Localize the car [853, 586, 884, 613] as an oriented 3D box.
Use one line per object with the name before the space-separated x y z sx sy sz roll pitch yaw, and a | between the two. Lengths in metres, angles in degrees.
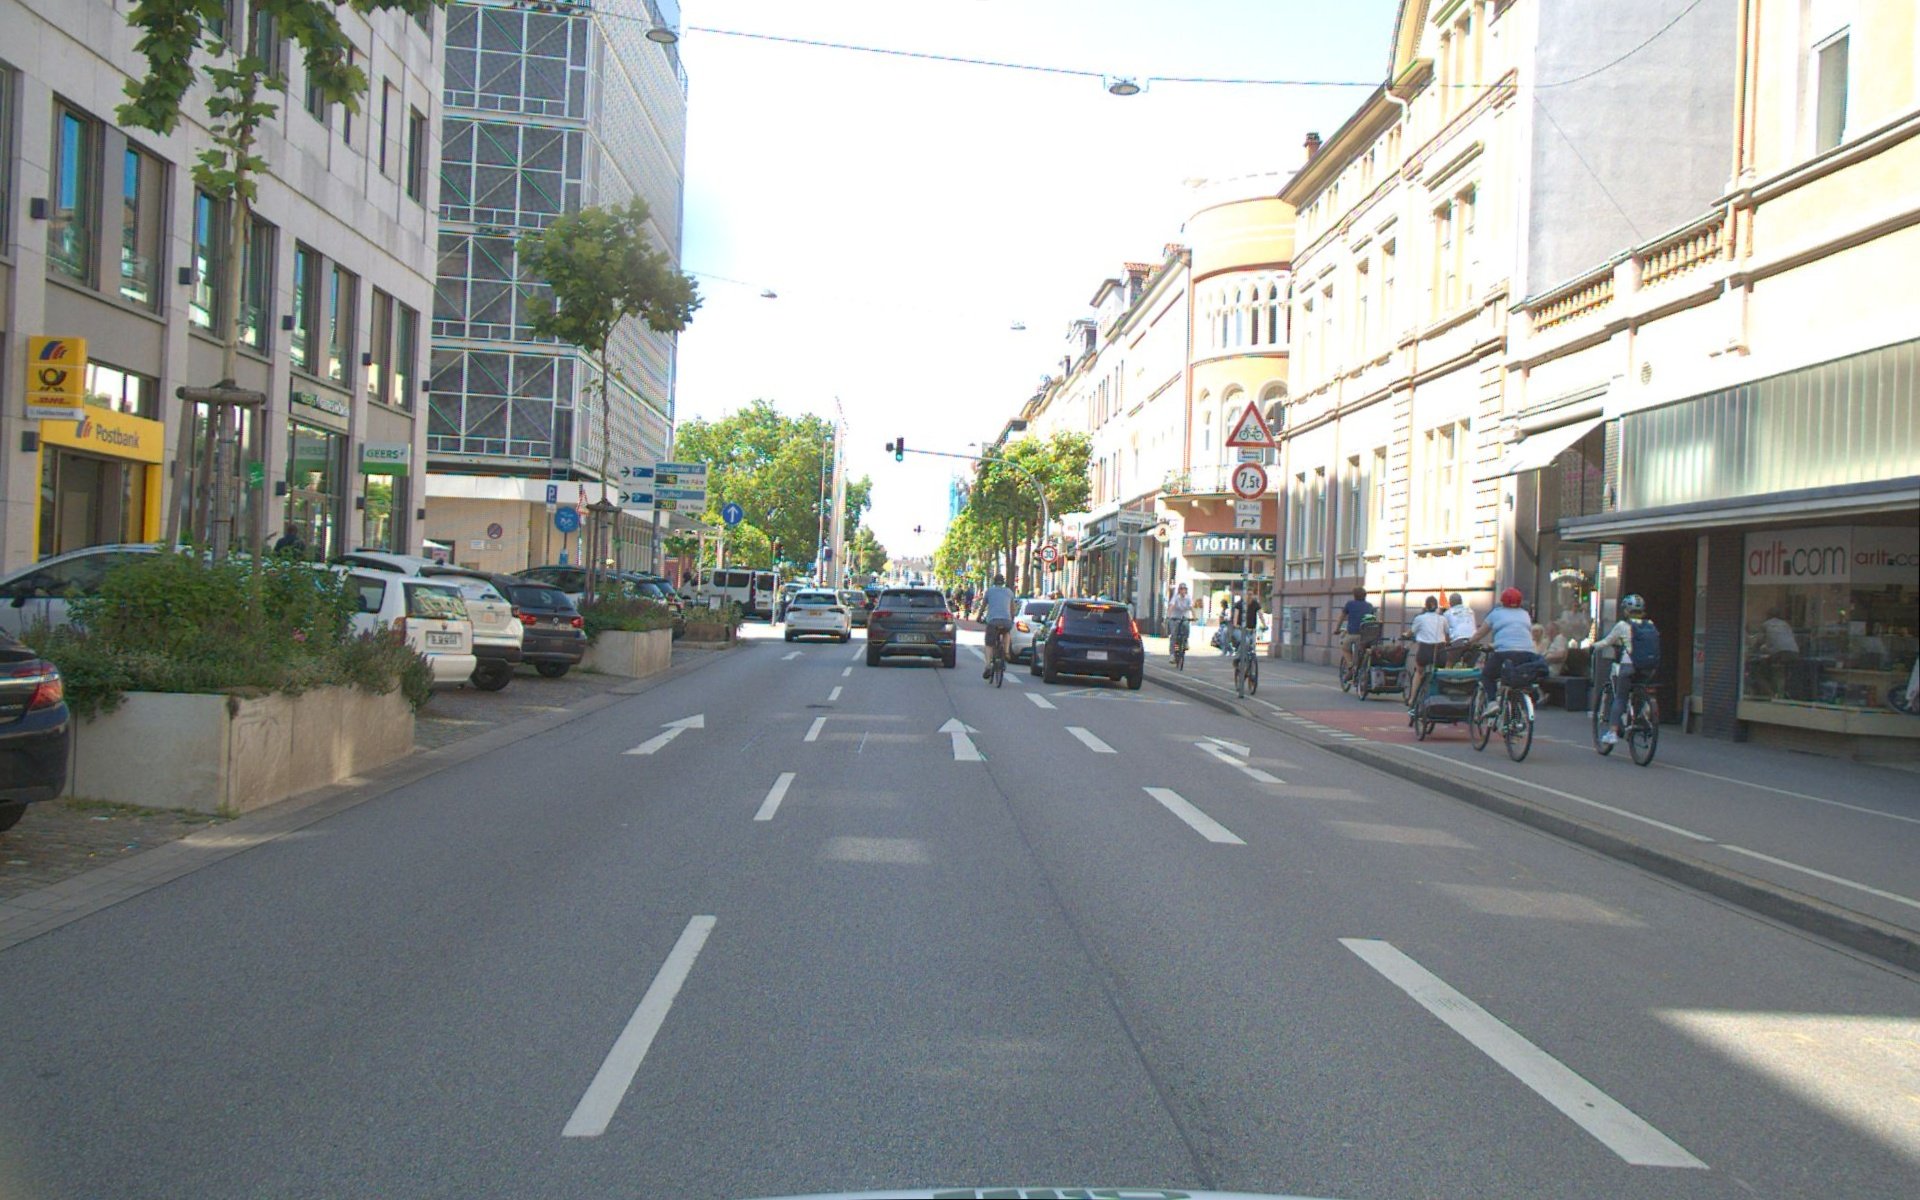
car | -5.395 -0.046 97.707 1.708 1.466 3.998 2 0 -3

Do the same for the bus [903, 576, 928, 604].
bus | -6.207 -1.392 228.475 2.716 3.668 8.964 2 0 -5

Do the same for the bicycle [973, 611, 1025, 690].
bicycle | 0.628 0.800 27.060 0.651 1.140 2.242 4 1 -2

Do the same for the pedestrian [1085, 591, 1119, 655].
pedestrian | 4.141 0.660 48.261 0.645 1.841 0.722 2 0 -30

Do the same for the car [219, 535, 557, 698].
car | -7.461 0.209 21.568 3.909 1.595 1.699 7 0 23

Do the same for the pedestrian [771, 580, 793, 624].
pedestrian | -6.710 0.084 62.470 0.606 1.643 0.544 3 -2 -32

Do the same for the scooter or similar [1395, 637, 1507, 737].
scooter or similar | 5.851 1.020 19.790 0.853 1.141 1.620 1 -1 -1

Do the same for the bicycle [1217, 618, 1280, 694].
bicycle | 4.847 0.922 27.917 0.544 1.140 2.242 4 1 -2

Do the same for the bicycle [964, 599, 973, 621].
bicycle | 0.447 0.540 89.605 0.411 1.155 1.910 2 0 0

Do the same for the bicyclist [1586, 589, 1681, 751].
bicyclist | 6.985 0.708 17.180 0.570 1.623 0.920 2 0 0

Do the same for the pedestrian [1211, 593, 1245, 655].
pedestrian | 7.772 0.693 47.996 0.776 1.750 0.728 1 0 -7

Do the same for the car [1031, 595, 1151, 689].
car | 2.324 0.713 30.074 1.785 1.433 3.186 4 1 -1

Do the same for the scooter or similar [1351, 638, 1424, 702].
scooter or similar | 6.839 1.112 26.517 0.835 0.935 1.164 2 0 -1

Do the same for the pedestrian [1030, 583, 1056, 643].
pedestrian | 2.602 0.415 51.702 0.711 1.841 0.654 1 0 8

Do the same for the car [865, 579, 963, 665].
car | -0.947 0.439 33.283 1.796 1.554 3.998 2 -1 -2

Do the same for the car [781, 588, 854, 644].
car | -3.969 0.413 46.569 1.826 1.466 3.998 2 0 -3

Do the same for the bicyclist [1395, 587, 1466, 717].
bicyclist | 6.081 0.658 21.418 0.619 1.623 0.920 2 -1 0

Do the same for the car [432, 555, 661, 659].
car | -7.897 0.138 31.876 3.910 1.526 1.716 6 0 -4

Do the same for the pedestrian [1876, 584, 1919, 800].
pedestrian | 8.190 0.755 13.568 0.860 1.748 0.835 2 -1 -2

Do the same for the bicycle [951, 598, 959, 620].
bicycle | -0.257 0.490 90.897 0.411 1.155 1.910 2 0 0

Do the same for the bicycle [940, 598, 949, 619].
bicycle | -0.849 0.455 91.200 0.411 1.155 1.910 2 0 0

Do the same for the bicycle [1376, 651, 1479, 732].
bicycle | 6.052 1.164 21.542 0.633 0.895 2.388 1 0 0

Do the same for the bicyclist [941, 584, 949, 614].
bicyclist | -0.817 -0.057 91.093 0.411 1.658 0.709 2 0 -1

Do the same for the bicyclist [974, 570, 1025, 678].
bicyclist | 0.635 0.381 27.135 0.680 1.702 0.915 4 1 -1

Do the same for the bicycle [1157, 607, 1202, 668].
bicycle | 4.766 0.796 36.038 0.544 1.230 2.242 3 1 -2

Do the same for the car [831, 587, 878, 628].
car | -4.017 0.268 63.342 1.708 1.466 3.998 2 0 -3

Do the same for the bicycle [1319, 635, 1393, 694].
bicycle | 6.733 1.078 28.208 0.725 0.895 2.137 2 0 0

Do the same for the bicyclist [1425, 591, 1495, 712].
bicyclist | 6.920 0.695 22.924 0.644 1.623 0.920 2 0 0

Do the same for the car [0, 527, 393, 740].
car | -7.496 0.254 15.170 3.912 1.526 1.715 6 0 -6

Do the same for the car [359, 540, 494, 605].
car | -17.832 -0.914 55.452 3.910 2.049 1.932 2 0 -6

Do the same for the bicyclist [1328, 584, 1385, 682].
bicyclist | 6.752 0.549 28.222 0.695 1.623 0.963 2 0 0

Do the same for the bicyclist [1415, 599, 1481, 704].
bicyclist | 6.079 0.639 20.635 0.611 1.270 0.607 2 0 -1

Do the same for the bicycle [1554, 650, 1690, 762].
bicycle | 6.901 1.081 17.348 0.552 1.013 2.103 2 0 0

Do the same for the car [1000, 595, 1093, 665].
car | 1.912 0.637 37.616 1.785 1.409 3.999 2 1 -1

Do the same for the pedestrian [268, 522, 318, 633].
pedestrian | -12.517 -0.414 31.070 0.611 2.049 0.700 1 0 -1

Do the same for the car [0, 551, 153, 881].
car | -6.505 0.409 8.730 4.259 1.539 1.830 5 0 28

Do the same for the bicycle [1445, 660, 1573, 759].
bicycle | 5.765 1.132 17.501 0.633 0.895 2.103 1 0 0

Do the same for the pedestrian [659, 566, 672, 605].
pedestrian | -15.504 -0.759 87.036 0.612 2.049 0.571 1 0 -8

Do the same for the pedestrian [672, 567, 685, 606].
pedestrian | -14.874 -0.711 87.303 0.612 2.049 0.571 1 0 -8

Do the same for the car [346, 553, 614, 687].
car | -7.246 0.278 24.849 3.922 1.484 1.664 7 0 35

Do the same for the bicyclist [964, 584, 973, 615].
bicyclist | 0.460 -0.024 89.688 0.411 1.658 0.709 2 0 -1

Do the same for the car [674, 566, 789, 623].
car | -9.522 -0.254 68.698 4.634 2.038 1.933 3 -2 38

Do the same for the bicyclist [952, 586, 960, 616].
bicyclist | -0.232 0.062 90.962 0.411 1.658 0.669 2 0 -1

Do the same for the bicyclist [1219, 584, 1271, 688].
bicyclist | 4.812 0.615 27.951 0.680 1.703 0.835 2 -3 -1

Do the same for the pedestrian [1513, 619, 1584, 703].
pedestrian | 9.188 0.946 25.852 0.916 1.291 0.568 0 0 4

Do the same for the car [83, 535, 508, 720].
car | -7.206 0.283 18.048 3.905 1.515 1.784 6 0 15

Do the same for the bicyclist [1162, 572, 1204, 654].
bicyclist | 4.848 0.278 35.973 0.680 1.702 0.835 4 0 -1

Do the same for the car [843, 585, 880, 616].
car | -4.827 0.009 81.571 1.708 1.466 3.998 2 0 -3

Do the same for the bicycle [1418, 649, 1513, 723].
bicycle | 6.938 1.162 22.790 0.633 0.895 2.103 2 0 0

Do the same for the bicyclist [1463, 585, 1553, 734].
bicyclist | 5.759 0.609 17.419 0.612 1.502 0.889 2 0 -1

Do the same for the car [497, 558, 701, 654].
car | -7.641 0.132 35.320 3.910 1.571 1.716 6 0 -4

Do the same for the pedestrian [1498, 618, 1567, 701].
pedestrian | 9.153 0.948 26.479 0.916 1.291 0.568 0 0 4
